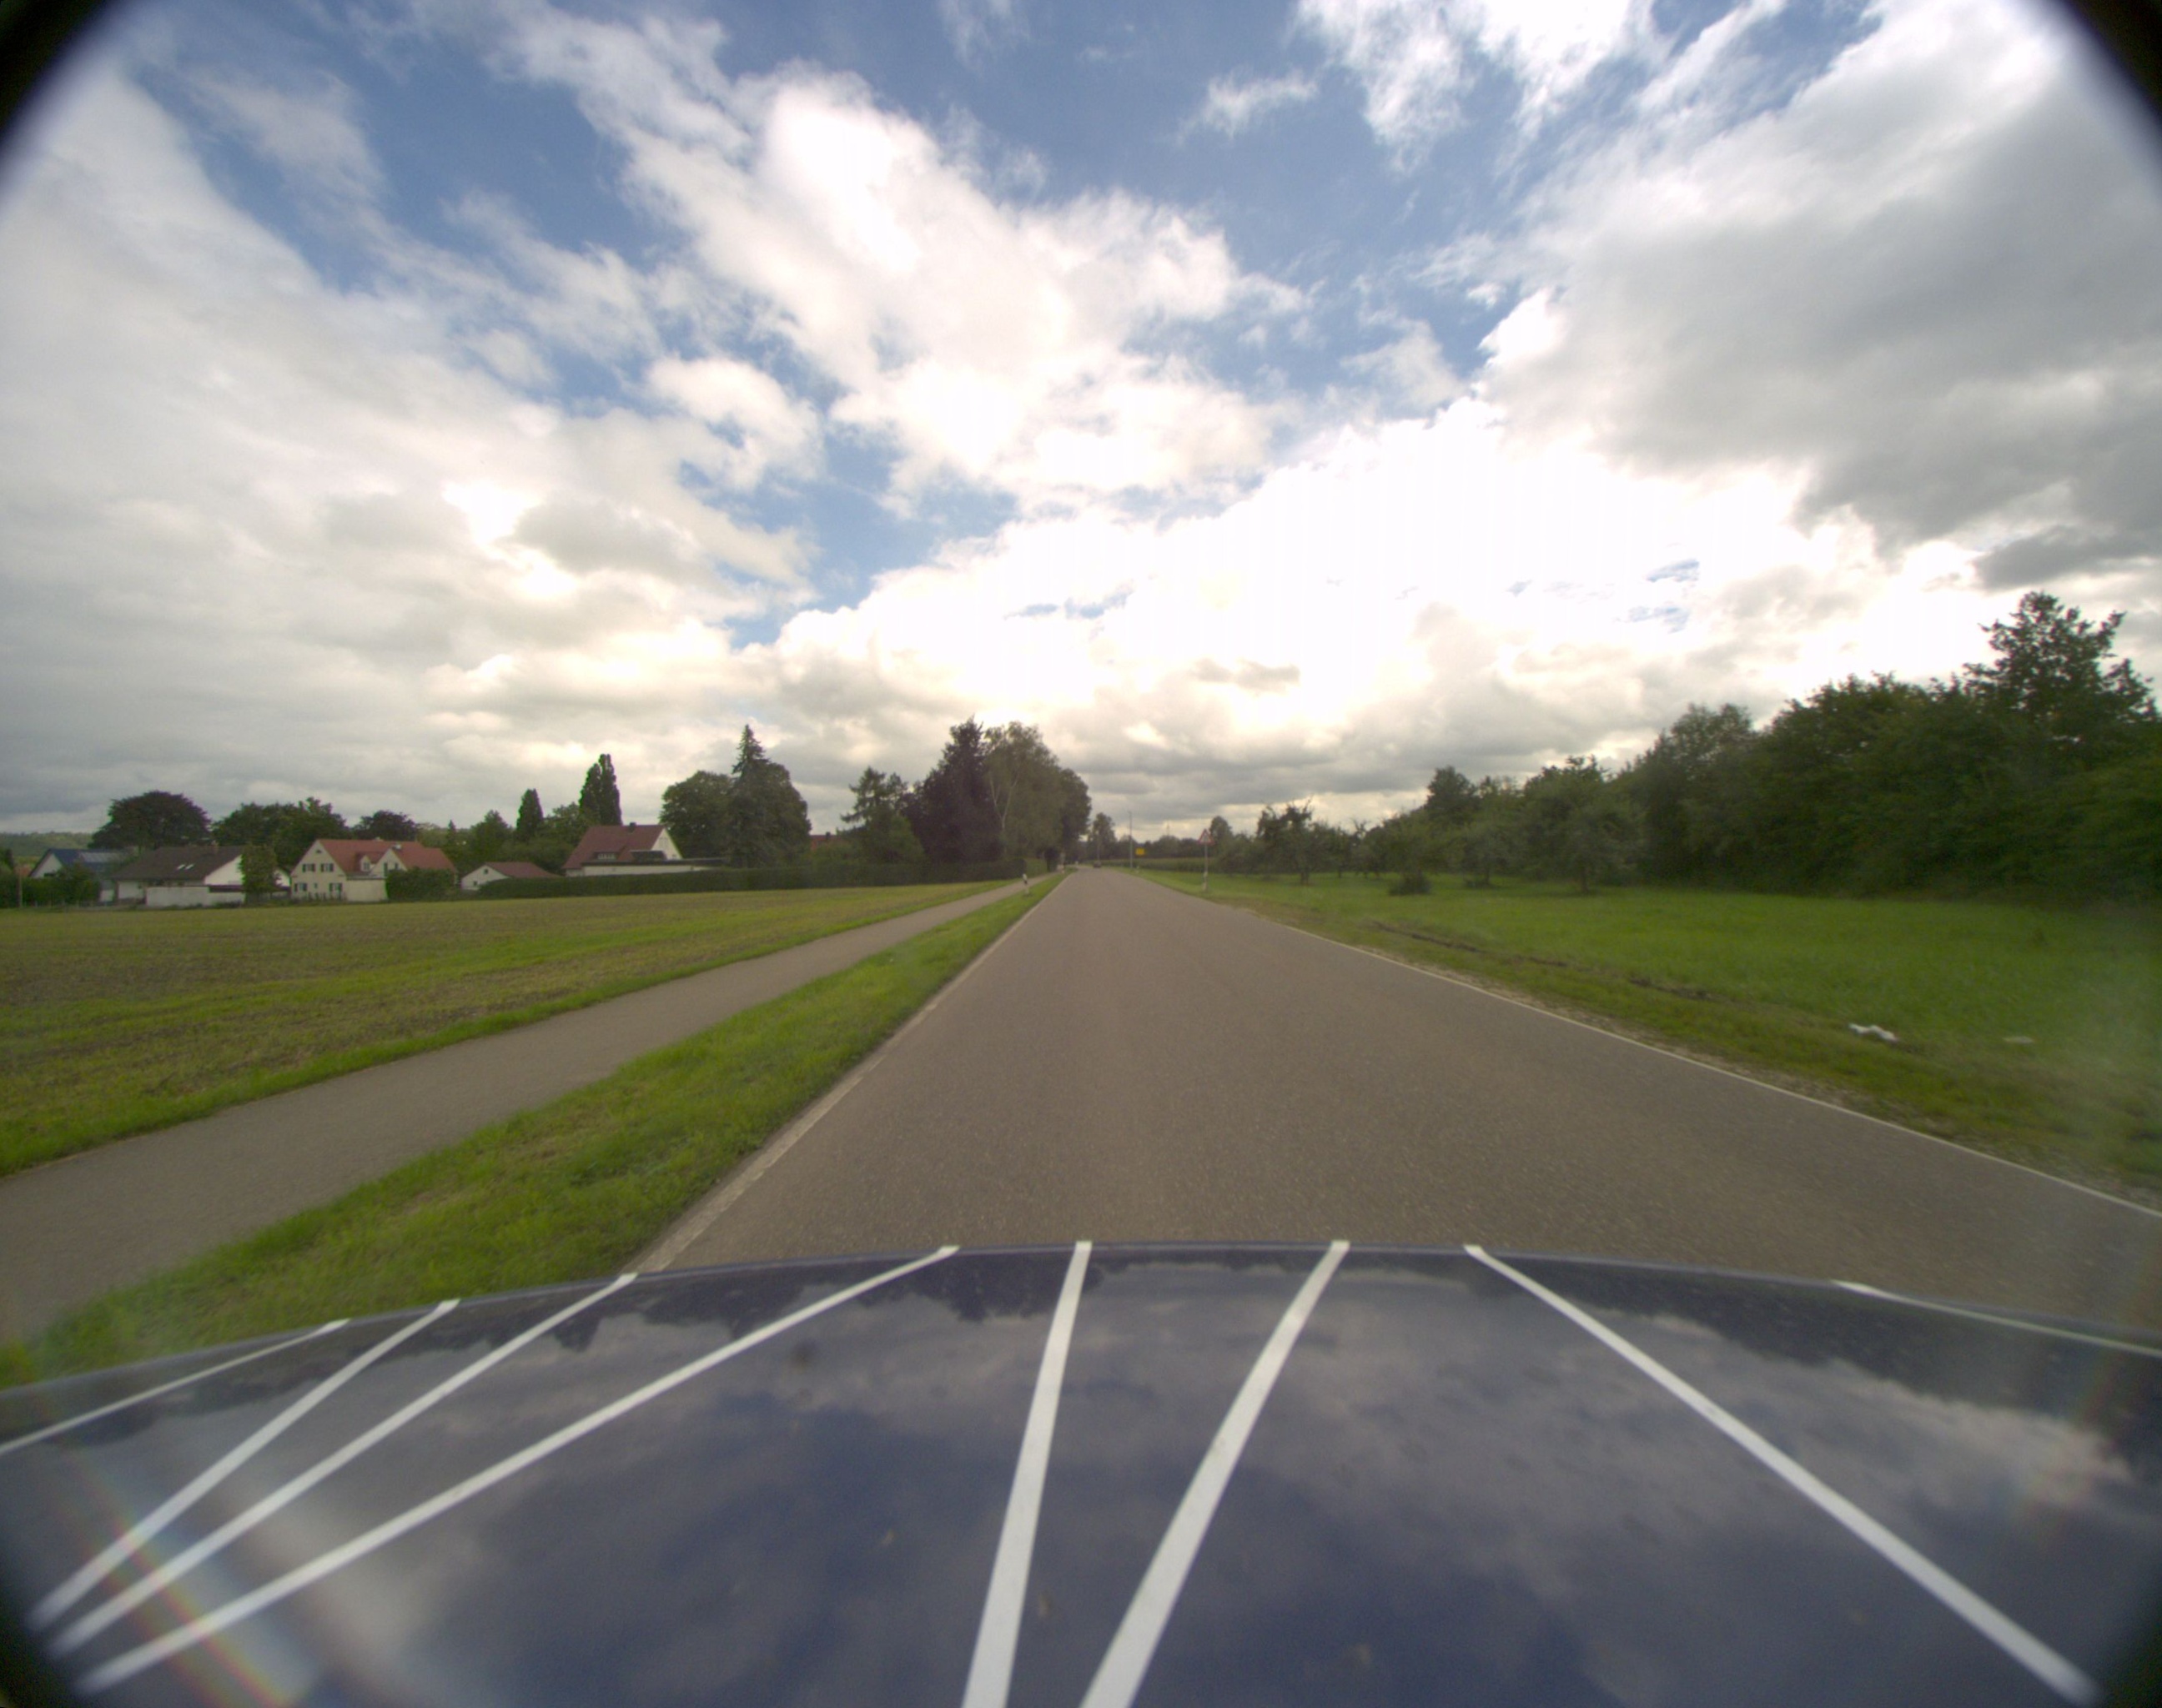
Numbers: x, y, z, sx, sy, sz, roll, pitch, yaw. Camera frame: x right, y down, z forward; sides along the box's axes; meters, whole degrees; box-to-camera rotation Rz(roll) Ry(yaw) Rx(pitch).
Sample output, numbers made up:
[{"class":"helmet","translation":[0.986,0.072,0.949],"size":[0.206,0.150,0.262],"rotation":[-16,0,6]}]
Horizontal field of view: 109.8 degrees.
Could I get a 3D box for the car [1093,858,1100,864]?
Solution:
[{"class":"car","translation":[3.724,1.681,182.892],"size":[1.869,1.543,4.182],"rotation":[1,0,1]}]
